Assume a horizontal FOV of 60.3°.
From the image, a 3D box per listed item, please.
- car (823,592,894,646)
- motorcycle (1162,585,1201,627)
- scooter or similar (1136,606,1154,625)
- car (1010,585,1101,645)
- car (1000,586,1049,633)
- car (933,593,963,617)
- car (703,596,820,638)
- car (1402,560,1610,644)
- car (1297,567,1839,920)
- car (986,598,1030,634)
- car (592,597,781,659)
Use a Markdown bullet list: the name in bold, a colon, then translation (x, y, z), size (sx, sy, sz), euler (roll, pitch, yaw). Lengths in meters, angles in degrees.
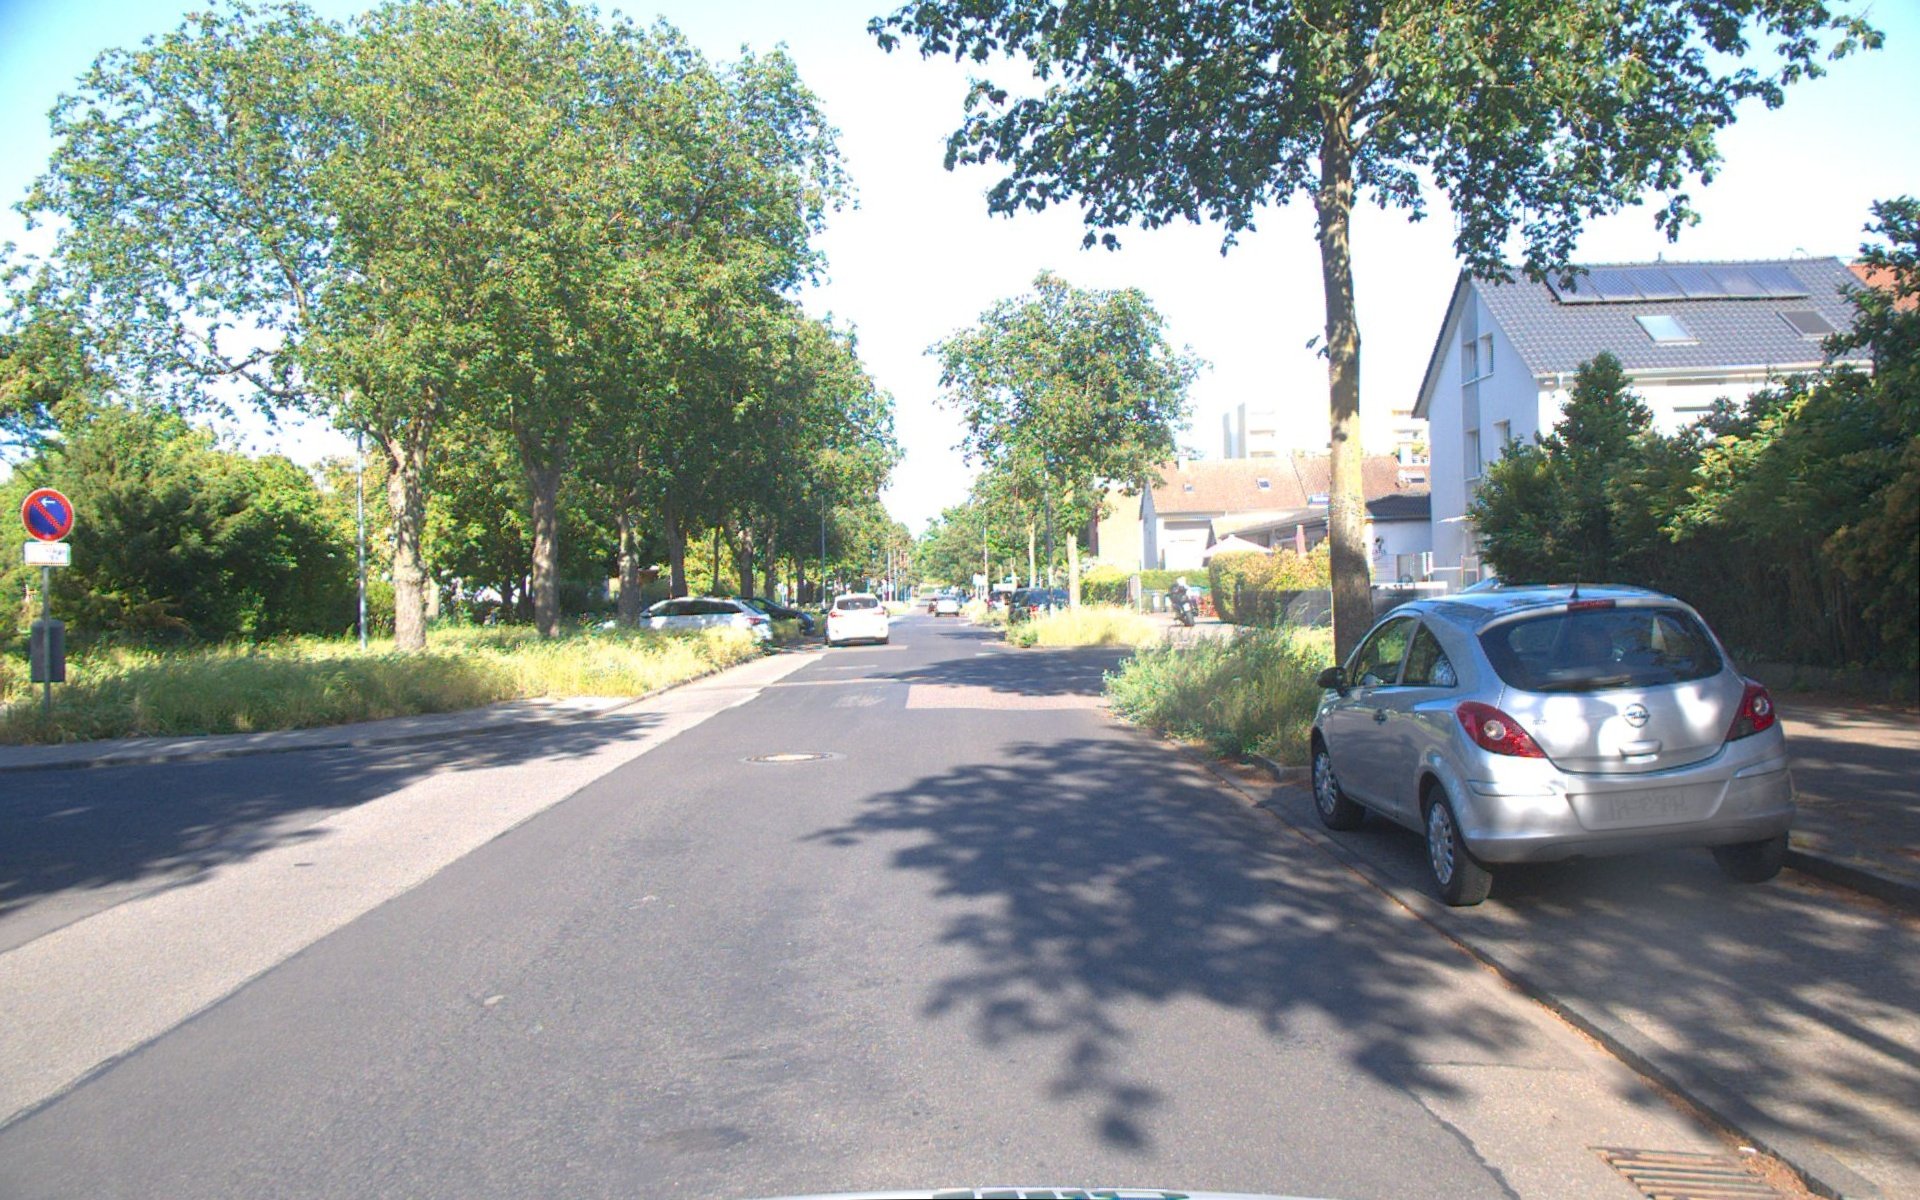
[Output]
- **car**: translation (-3.056, 0.543, 49.123), size (1.955, 1.480, 4.220), euler (-1, 0, -5)
- **motorcycle**: translation (6.932, 0.178, 51.954), size (0.801, 1.248, 2.351), euler (-3, 0, -1)
- **scooter or similar**: translation (8.583, 0.694, 76.781), size (0.361, 0.873, 1.407), euler (0, 0, -14)
- **car**: translation (2.817, 0.438, 49.796), size (1.955, 1.650, 4.375), euler (2, 0, -7)
- **car**: translation (2.370, 0.356, 61.329), size (1.577, 1.650, 4.381), euler (2, 0, 0)
- **car**: translation (-0.817, 0.360, 113.185), size (1.953, 1.534, 3.657), euler (2, 0, -1)
- **car**: translation (-7.565, 0.643, 63.200), size (4.279, 1.558, 1.807), euler (0, -1, -2)
- **car**: translation (11.835, 0.032, 35.978), size (3.911, 1.668, 1.774), euler (-2, 0, -7)
- **car**: translation (3.167, 0.682, 9.546), size (1.951, 1.536, 4.003), euler (-3, -1, 6)
- **car**: translation (2.531, 0.852, 88.466), size (1.954, 1.758, 3.997), euler (-3, -1, -3)
- **car**: translation (-7.128, 0.717, 43.436), size (4.575, 1.529, 2.000), euler (-1, 0, 0)
